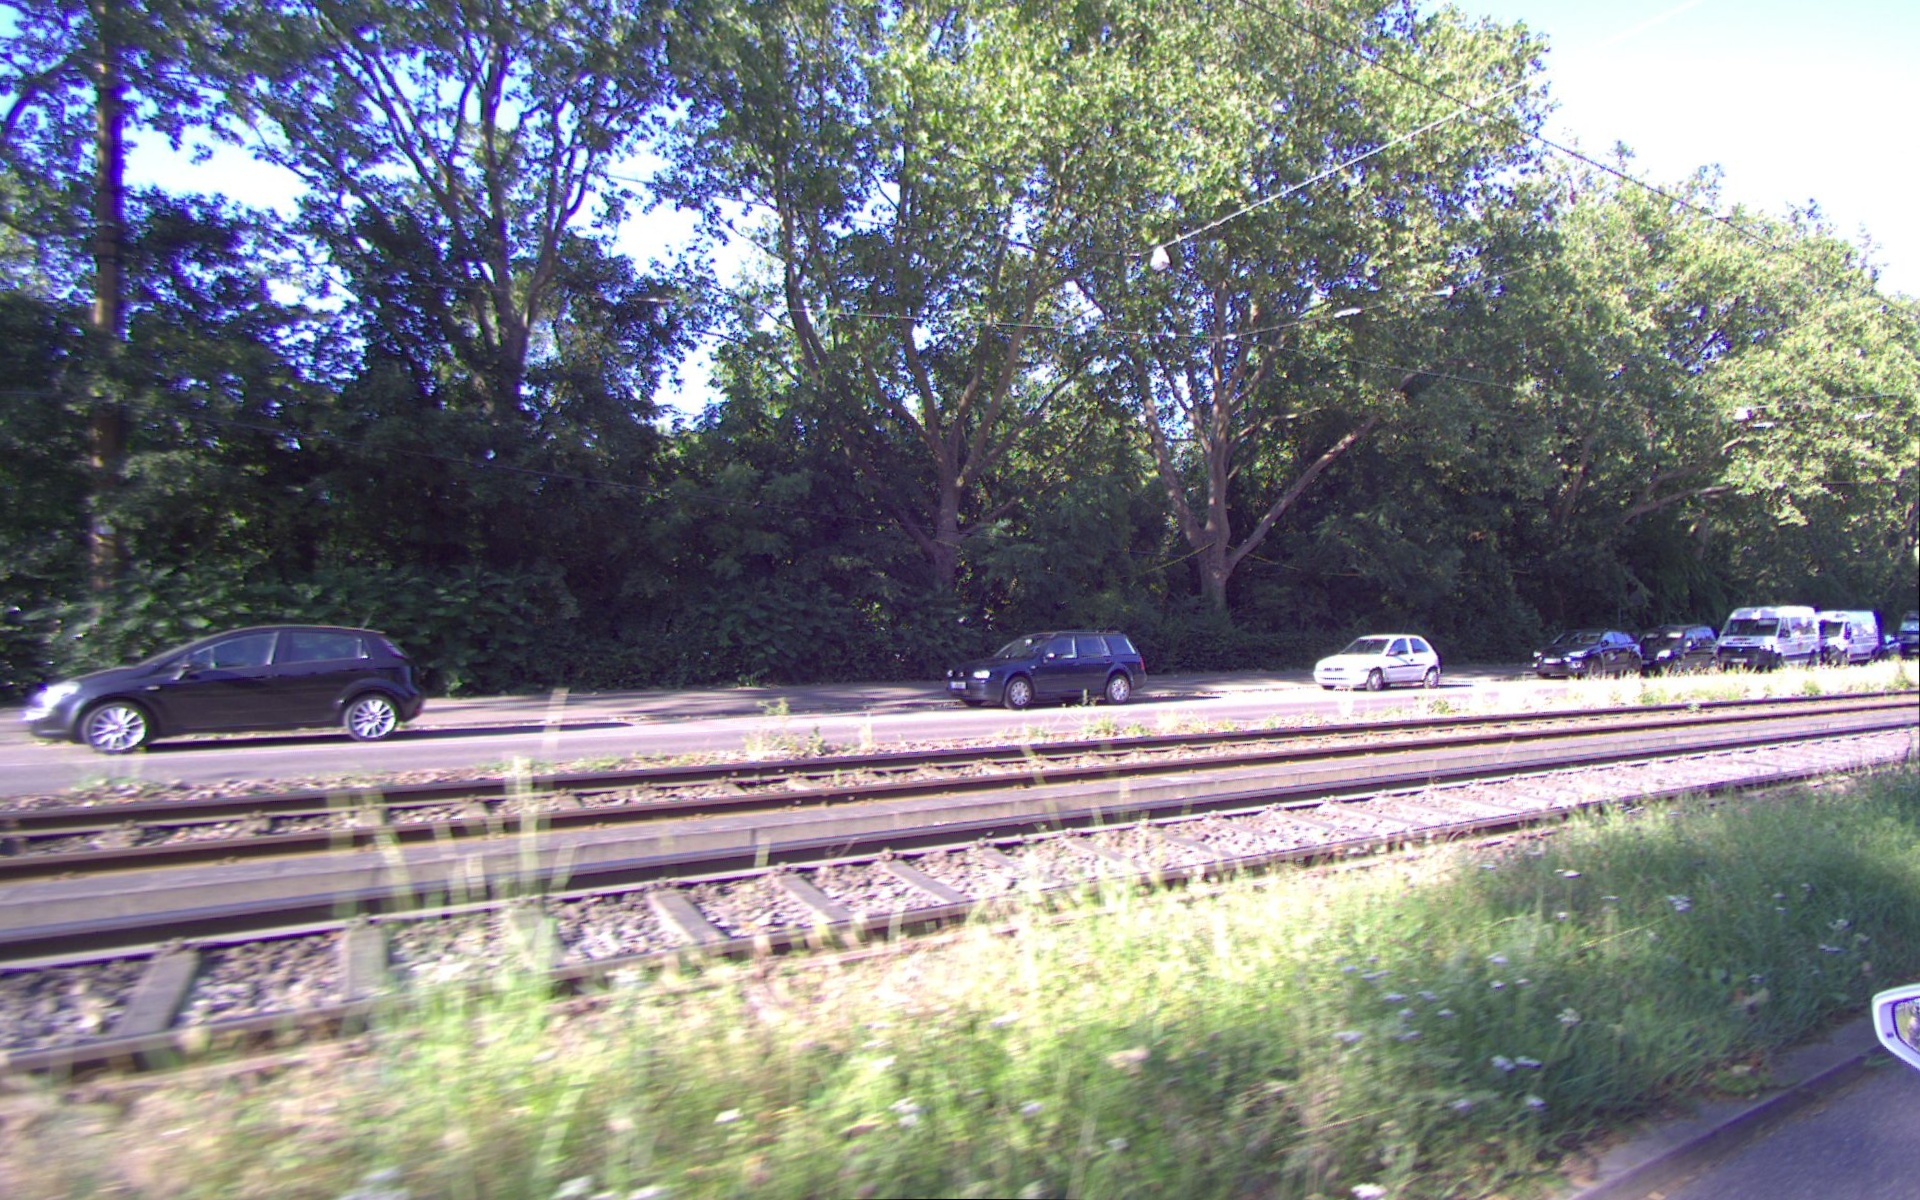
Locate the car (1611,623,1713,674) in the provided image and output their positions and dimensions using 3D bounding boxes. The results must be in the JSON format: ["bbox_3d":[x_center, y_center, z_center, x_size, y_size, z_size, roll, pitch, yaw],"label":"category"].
[{"bbox_3d":[25.258,1.746,36.100,3.841,1.750,1.729,2,-3,-34],"label":"car"}]

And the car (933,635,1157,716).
[{"bbox_3d":[1.750,1.448,20.079,4.279,1.455,1.816,2,-3,-34],"label":"car"}]

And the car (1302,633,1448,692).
[{"bbox_3d":[10.902,1.611,26.340,3.812,1.455,1.729,2,-3,-34],"label":"car"}]

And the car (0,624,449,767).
[{"bbox_3d":[-9.009,1.109,12.723,4.349,1.525,1.816,2,-3,-34],"label":"car"}]

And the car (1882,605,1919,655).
[{"bbox_3d":[51.125,1.611,53.054,5.969,2.553,2.171,2,-3,-33],"label":"car"}]

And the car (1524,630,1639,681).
[{"bbox_3d":[20.203,1.788,32.612,3.841,1.575,1.729,2,-3,-34],"label":"car"}]

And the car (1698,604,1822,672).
[{"bbox_3d":[32.257,1.543,40.424,5.987,2.553,2.171,2,-3,-34],"label":"car"}]

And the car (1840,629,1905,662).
[{"bbox_3d":[44.414,2.213,48.887,3.233,1.532,1.641,2,-3,-35],"label":"car"}]

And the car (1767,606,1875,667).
[{"bbox_3d":[38.554,1.664,44.917,6.209,2.553,2.170,2,-3,-35],"label":"car"}]
